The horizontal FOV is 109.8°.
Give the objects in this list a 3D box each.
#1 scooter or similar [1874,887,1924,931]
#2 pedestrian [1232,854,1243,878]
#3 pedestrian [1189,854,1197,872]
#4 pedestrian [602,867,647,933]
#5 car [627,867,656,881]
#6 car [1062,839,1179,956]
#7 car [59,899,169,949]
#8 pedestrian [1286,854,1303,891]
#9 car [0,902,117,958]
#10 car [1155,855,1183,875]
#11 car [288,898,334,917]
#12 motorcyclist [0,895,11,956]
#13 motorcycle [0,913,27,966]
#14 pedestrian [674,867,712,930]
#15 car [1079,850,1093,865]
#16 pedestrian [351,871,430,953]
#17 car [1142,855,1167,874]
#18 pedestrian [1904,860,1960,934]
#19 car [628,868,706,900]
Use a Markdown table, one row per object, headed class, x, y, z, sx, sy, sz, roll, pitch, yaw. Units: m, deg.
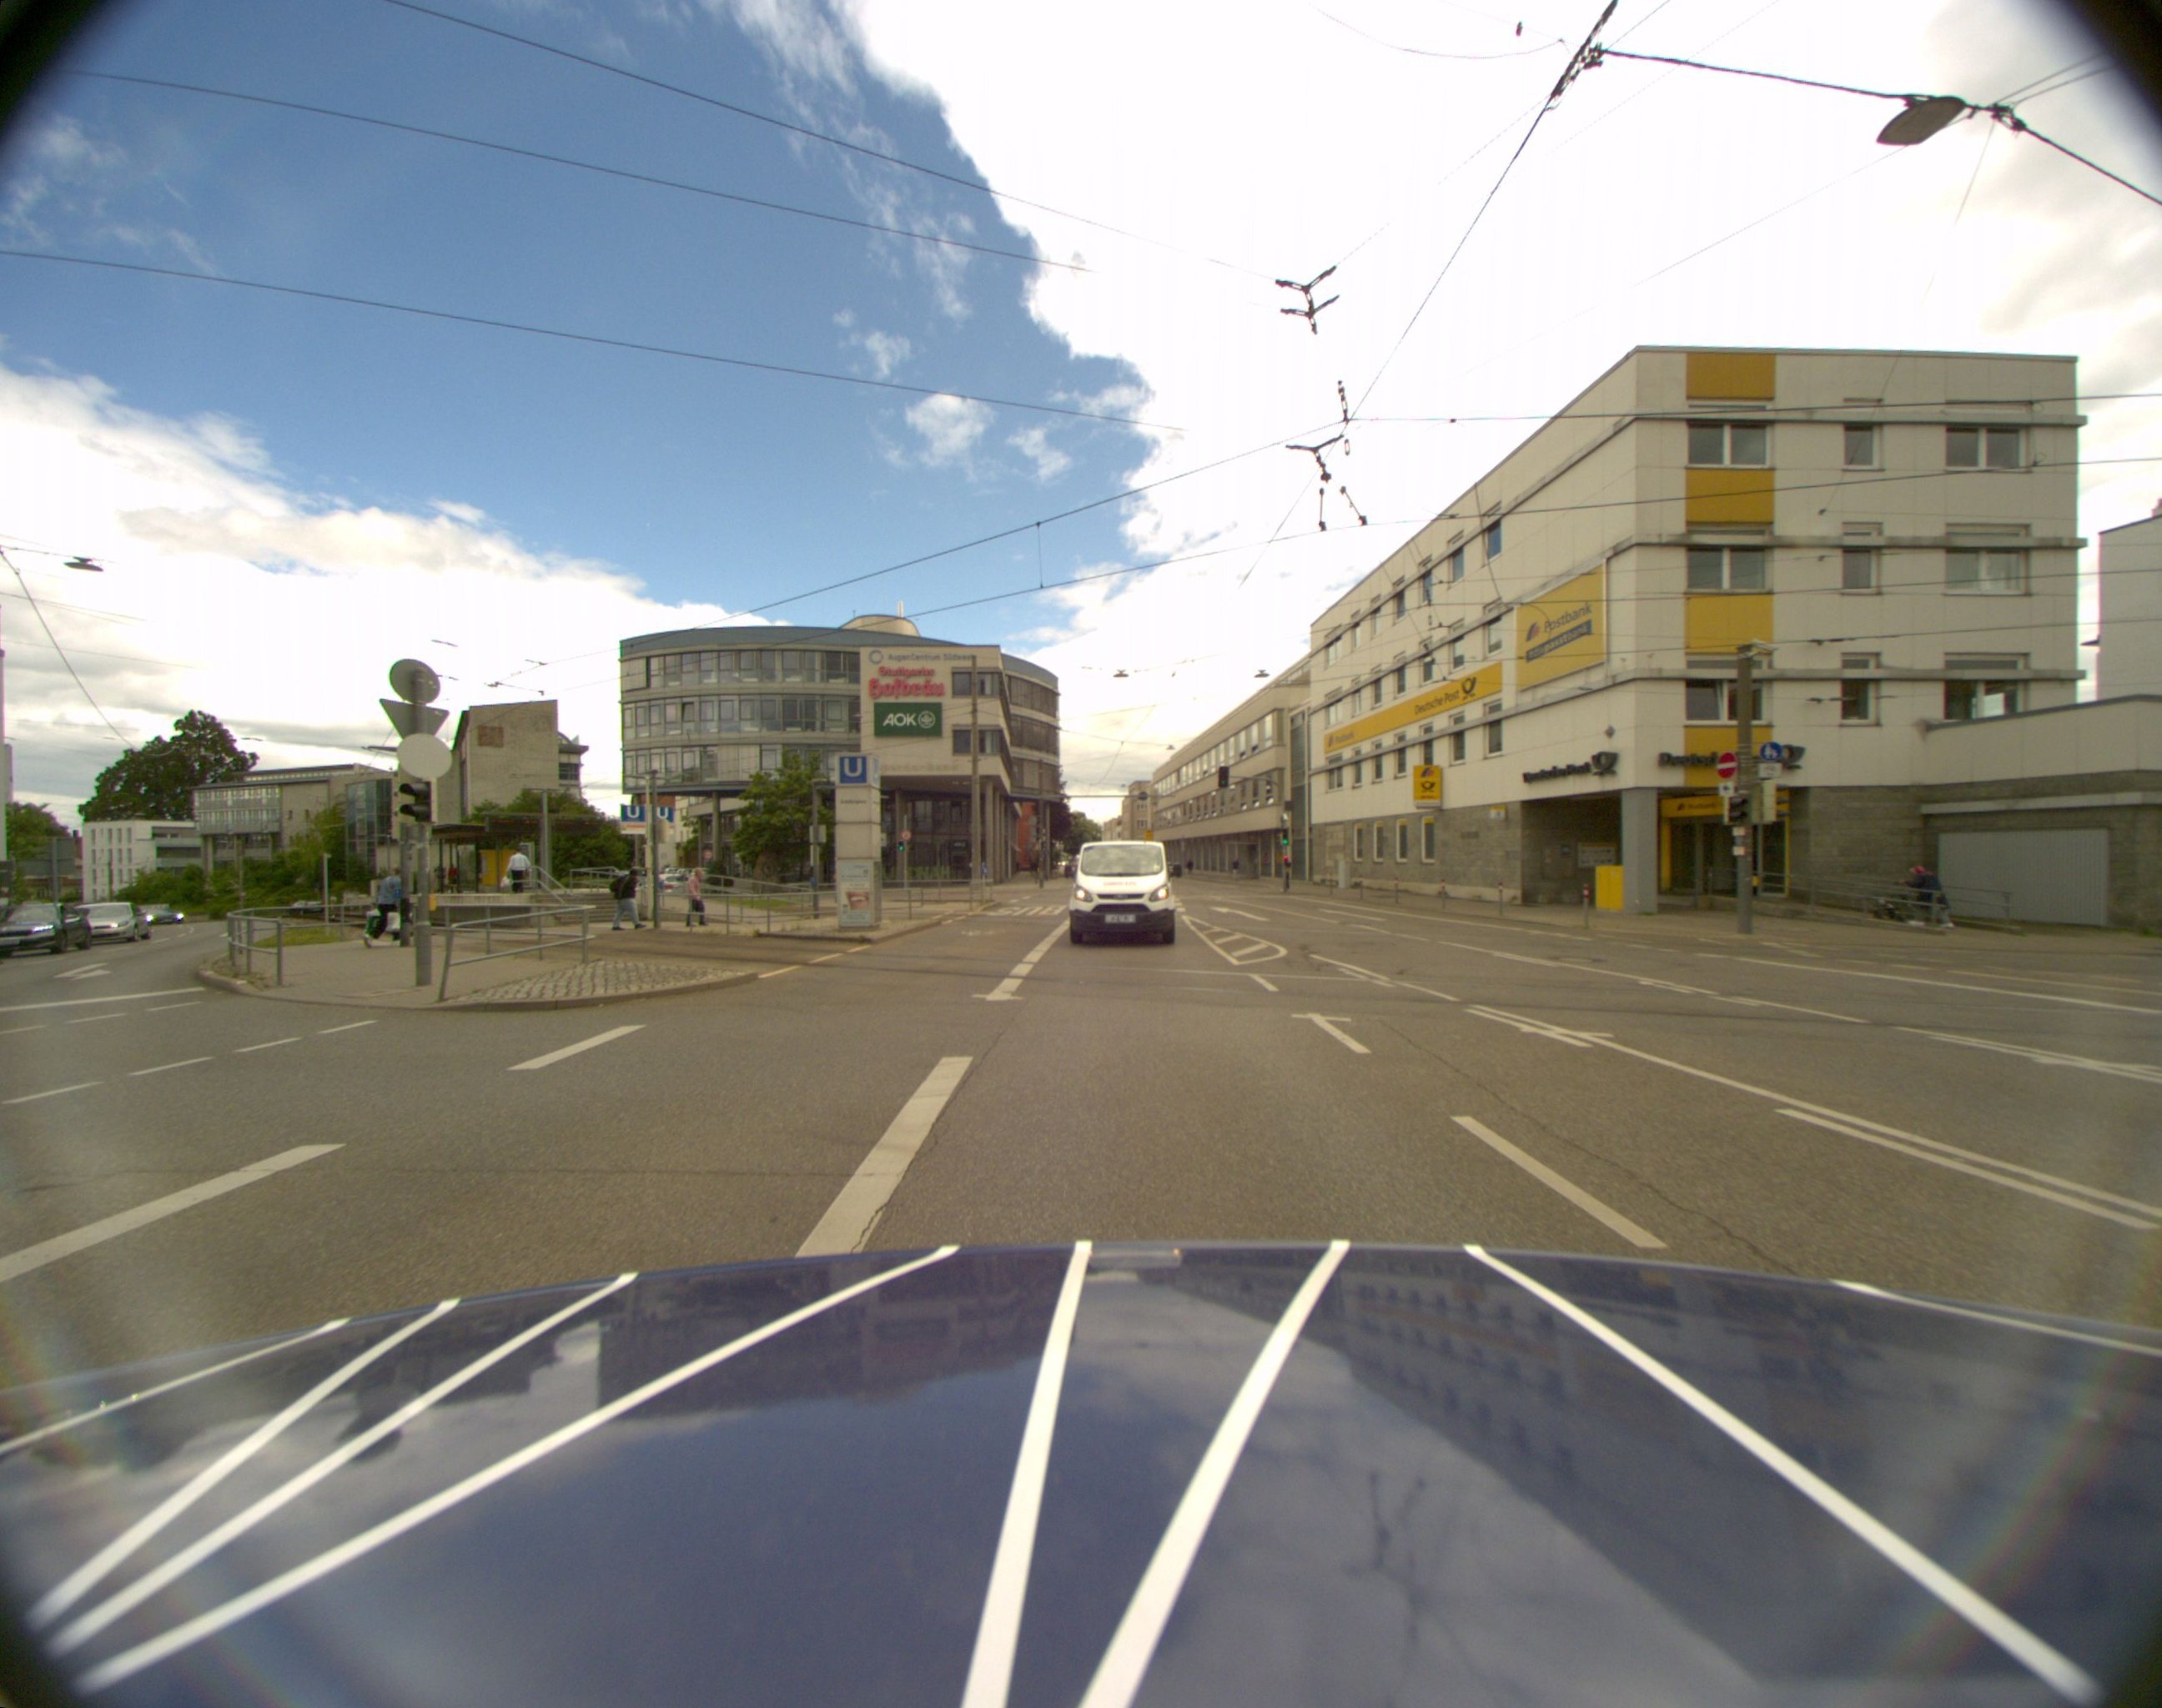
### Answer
| class | x | y | z | sx | sy | sz | roll | pitch | yaw |
| --- | --- | --- | --- | --- | --- | --- | --- | --- | --- |
| scooter or similar | 19.071 | 1.279 | 17.728 | 0.508 | 0.971 | 0.617 | -1 | 0 | -5 |
| pedestrian | 11.588 | 0.890 | 56.160 | 0.587 | 1.792 | 0.526 | -4 | 0 | -3 |
| pedestrian | 11.665 | 0.937 | 79.199 | 0.587 | 1.792 | 0.526 | -4 | 0 | -3 |
| pedestrian | -11.835 | 1.173 | 19.690 | 0.847 | 1.625 | 0.643 | -4 | 0 | -36 |
| car | -56.412 | 2.601 | 97.582 | 4.306 | 1.700 | 2.004 | -2 | 0 | 43 |
| car | 0.807 | 0.772 | 15.801 | 1.998 | 2.002 | 5.000 | -1 | 0 | 3 |
| car | -35.273 | 2.478 | 27.861 | 1.884 | 1.430 | 4.736 | -2 | 0 | -45 |
| pedestrian | 10.640 | 0.915 | 37.823 | 0.587 | 1.792 | 0.526 | -4 | 0 | -3 |
| car | -31.018 | 2.216 | 22.657 | 1.884 | 1.437 | 4.773 | -2 | -1 | -40 |
| car | 9.065 | 1.133 | 78.970 | 1.999 | 2.002 | 4.485 | -1 | 0 | -5 |
| car | -75.592 | 5.227 | 74.593 | 4.307 | 1.700 | 2.004 | -1 | 0 | 28 |
| motorcyclist | -26.763 | 1.758 | 18.315 | 0.890 | 1.467 | 0.804 | -1 | 0 | -36 |
| motorcycle | -26.786 | 2.115 | 18.359 | 0.888 | 1.221 | 2.150 | -1 | 0 | -36 |
| pedestrian | -10.300 | 1.173 | 20.186 | 0.525 | 1.625 | 0.589 | -4 | 0 | 23 |
| car | 0.913 | 0.621 | 132.346 | 1.998 | 2.401 | 4.488 | -1 | 0 | 5 |
| pedestrian | -14.297 | 1.174 | 15.747 | 0.887 | 1.637 | 0.807 | -1 | 0 | 8 |
| car | 8.236 | 1.158 | 85.122 | 1.999 | 2.002 | 4.485 | -1 | 0 | -5 |
| pedestrian | 19.130 | 0.960 | 17.091 | 0.587 | 1.625 | 0.615 | -1 | 0 | -3 |
| car | -24.111 | 1.731 | 44.224 | 4.307 | 1.700 | 2.004 | -1 | 0 | 30 |
